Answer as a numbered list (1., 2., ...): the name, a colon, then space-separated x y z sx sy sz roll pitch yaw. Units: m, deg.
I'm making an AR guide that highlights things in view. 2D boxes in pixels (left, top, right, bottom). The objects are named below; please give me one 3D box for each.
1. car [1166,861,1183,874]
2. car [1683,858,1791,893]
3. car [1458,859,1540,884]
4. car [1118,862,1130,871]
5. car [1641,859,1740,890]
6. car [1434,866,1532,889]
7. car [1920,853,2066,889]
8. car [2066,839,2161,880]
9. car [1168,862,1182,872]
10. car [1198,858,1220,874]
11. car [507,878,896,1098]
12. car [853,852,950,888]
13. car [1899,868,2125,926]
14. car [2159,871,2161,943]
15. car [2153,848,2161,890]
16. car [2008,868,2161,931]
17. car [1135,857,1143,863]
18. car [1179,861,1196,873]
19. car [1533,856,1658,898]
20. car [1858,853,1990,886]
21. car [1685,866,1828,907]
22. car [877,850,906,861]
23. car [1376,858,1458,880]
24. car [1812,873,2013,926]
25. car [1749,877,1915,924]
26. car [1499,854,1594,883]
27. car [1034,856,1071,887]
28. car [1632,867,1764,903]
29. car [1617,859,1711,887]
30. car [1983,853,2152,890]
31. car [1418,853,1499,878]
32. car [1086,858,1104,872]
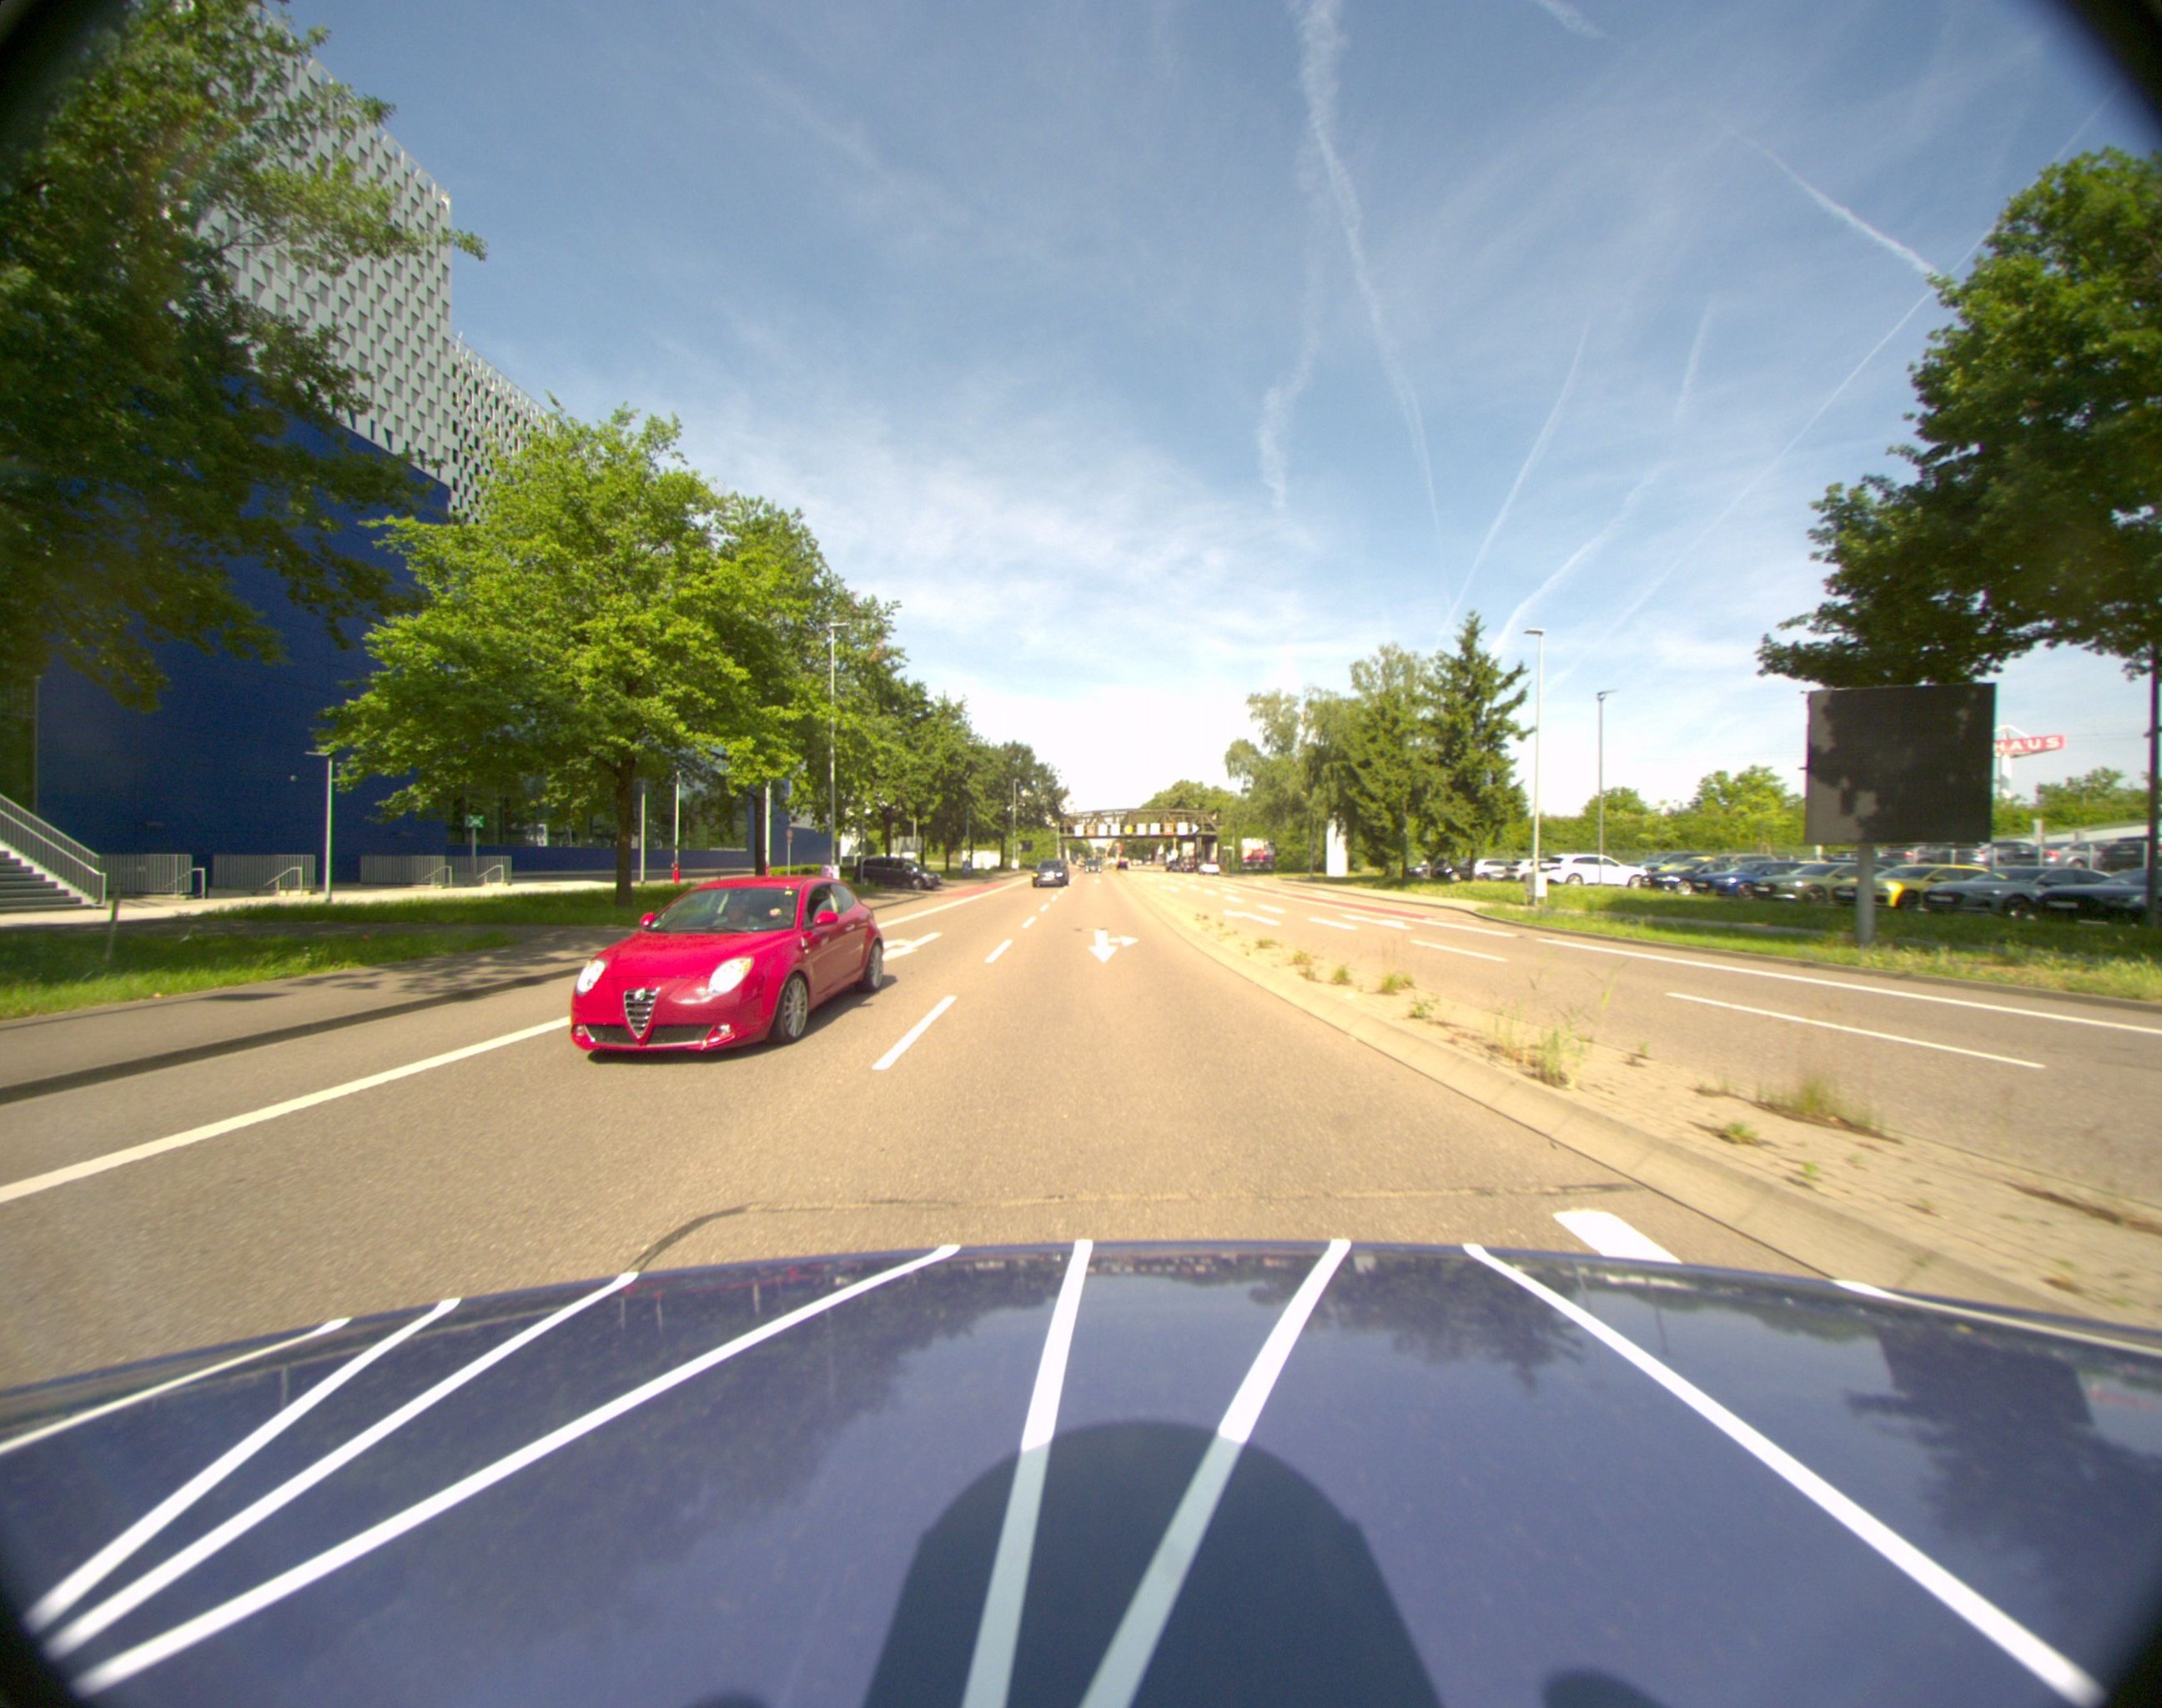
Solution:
1. car: 14.767 2.138 120.627 1.998 1.850 5.451 3 0 1
2. car: 34.922 1.131 40.535 3.996 1.747 2.000 -1 0 1
3. car: 23.800 0.995 43.385 3.689 1.363 1.816 -1 0 1
4. car: 7.023 2.042 125.579 1.785 1.438 4.120 1 0 1
5. car: 34.791 1.156 43.441 3.996 1.612 2.000 -1 0 1
6. car: 24.102 1.393 45.672 4.863 1.261 2.000 -1 0 1
7. car: 40.459 0.723 33.763 4.213 1.468 2.000 -1 0 -2
8. car: 40.403 0.214 28.448 4.511 1.476 1.979 1 0 -1
9. car: 13.939 1.964 113.053 1.639 1.379 4.319 1 0 1
10. car: 13.504 1.217 80.269 1.998 1.608 4.106 2 0 5
11. car: -3.263 1.044 7.548 1.798 1.446 3.979 -1 0 1
12. car: -9.183 0.809 38.987 4.452 1.684 1.845 2 0 8
13. car: 24.135 1.083 19.807 3.603 1.277 1.865 2 0 -1
14. car: 24.241 1.107 14.523 4.511 1.467 1.979 1 0 -1
15. car: 40.480 0.541 26.112 4.511 1.476 1.979 1 0 -1
16. car: 24.007 1.038 17.178 3.689 1.277 1.985 2 0 -1
17. car: 17.665 1.834 231.883 1.824 1.711 3.636 -1 0 -2
18. car: 14.392 1.697 102.499 1.702 1.510 4.027 2 0 1
19. car: 24.072 1.061 35.699 4.474 1.864 2.000 -1 0 2
20. car: 40.402 0.712 36.491 4.213 1.468 2.000 -1 0 -2
21. car: 24.215 1.139 27.325 3.603 1.277 1.744 2 0 -1
22. car: -28.905 0.220 115.751 4.292 1.629 1.860 -1 0 33
23. car: 22.721 0.993 51.473 4.698 1.381 2.000 -1 0 1
24. car: 24.390 1.310 22.394 3.897 1.332 1.840 2 0 -1
25. car: 24.309 1.487 24.690 3.752 1.277 1.663 2 0 -1
26. car: 25.204 0.776 41.261 3.995 1.477 1.848 -1 0 5
27. car: -1.572 0.958 43.612 1.824 1.632 4.113 -1 0 2
28. car: 24.355 1.211 30.074 3.801 1.277 1.744 -1 0 -1
29. car: 34.852 1.135 45.507 4.253 1.555 1.805 -1 0 -1
30. car: 40.276 0.693 31.089 4.511 1.410 1.891 -1 0 -1
31. car: 24.356 0.749 49.086 4.224 1.537 2.000 -1 0 1
32. car: 1.500 1.221 82.478 1.888 1.427 4.000 -1 0 1
